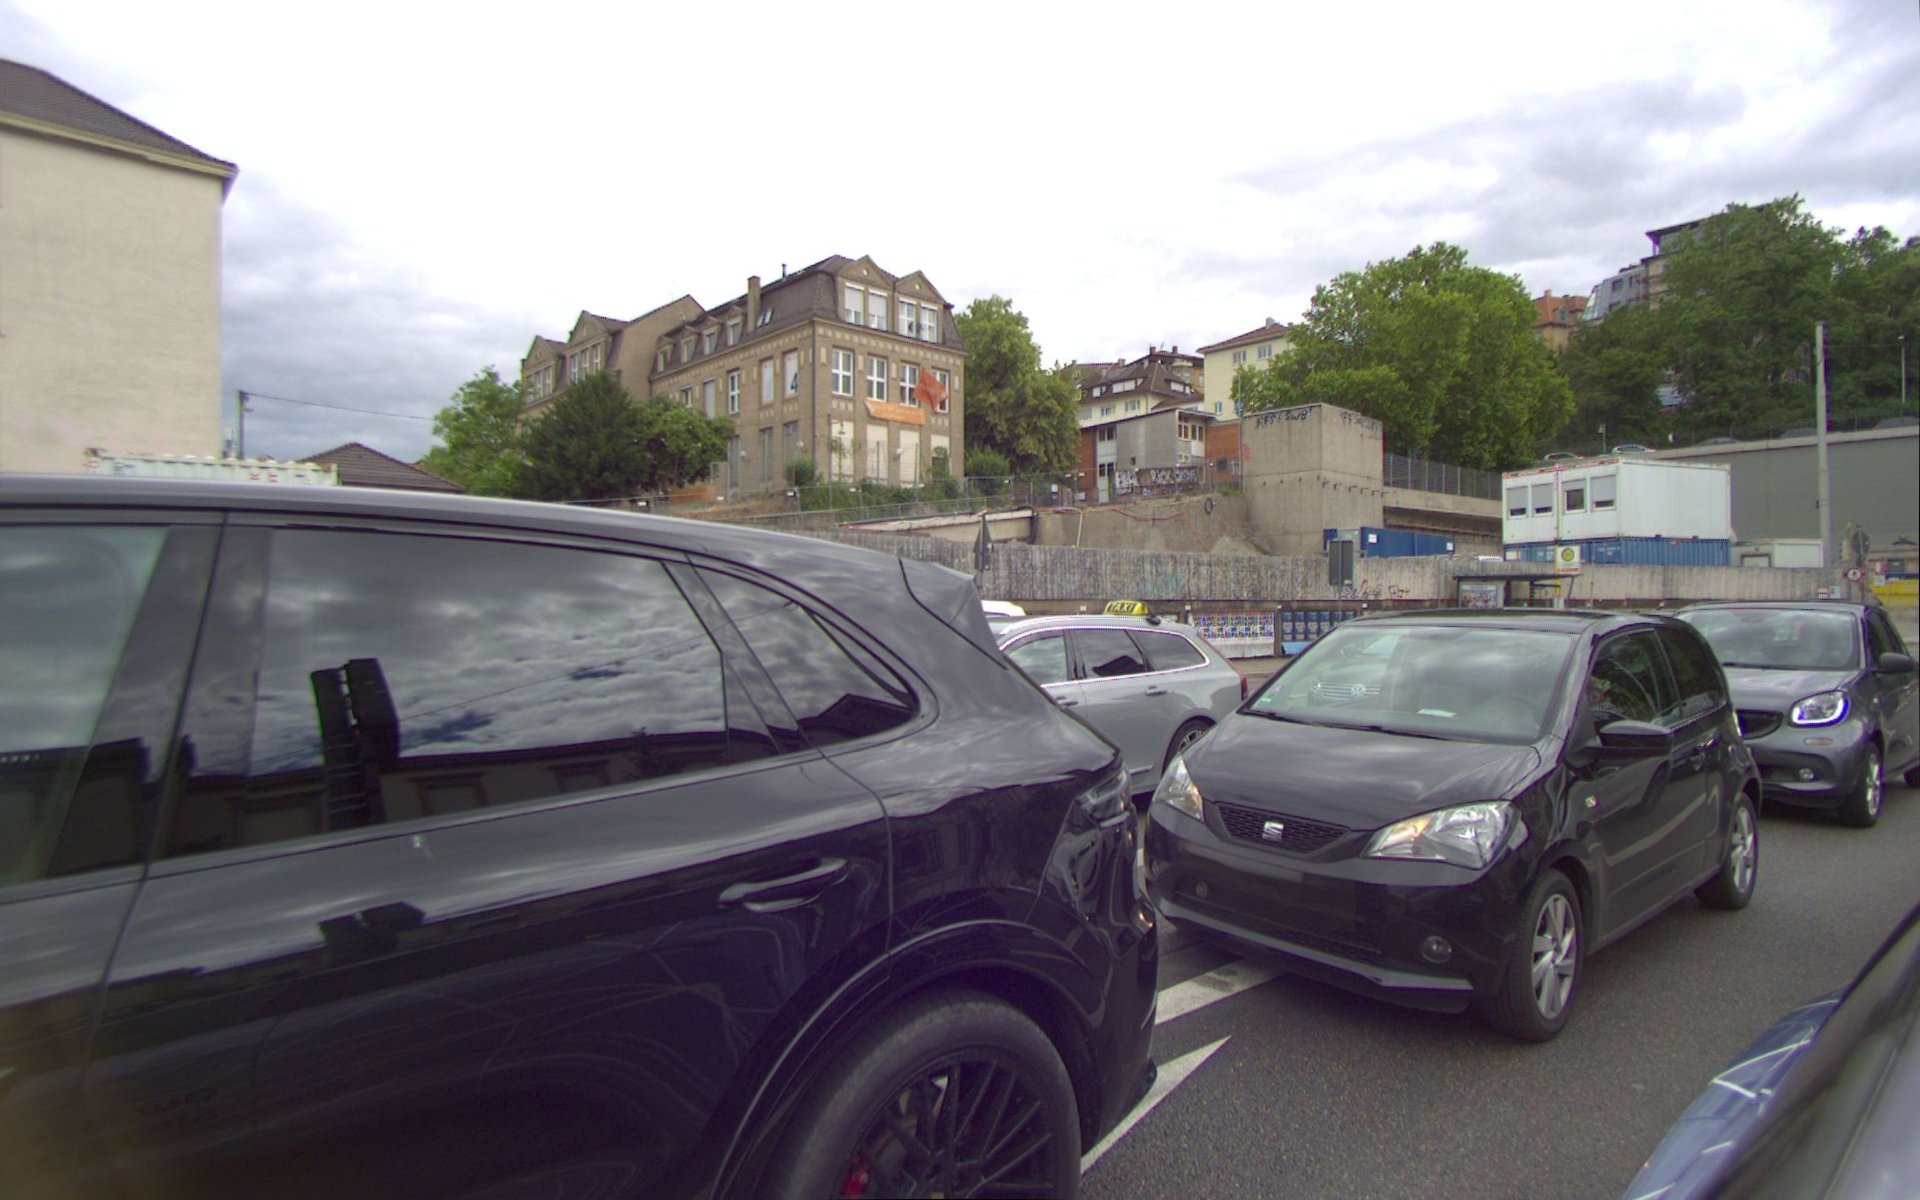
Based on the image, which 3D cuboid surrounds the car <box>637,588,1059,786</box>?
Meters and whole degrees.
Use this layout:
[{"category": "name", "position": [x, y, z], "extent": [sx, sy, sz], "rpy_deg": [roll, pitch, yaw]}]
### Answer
[{"category": "car", "position": [-1.007, 0.707, 10.473], "extent": [4.136, 1.645, 1.679], "rpy_deg": [-1, 0, -41]}]

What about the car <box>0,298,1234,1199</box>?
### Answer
[{"category": "car", "position": [-1.622, 0.572, 1.595], "extent": [4.406, 1.737, 1.827], "rpy_deg": [-1, 0, -41]}]

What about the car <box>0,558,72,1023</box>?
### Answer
[{"category": "car", "position": [-5.304, 0.688, 3.034], "extent": [3.930, 1.645, 1.679], "rpy_deg": [-1, 0, -41]}]

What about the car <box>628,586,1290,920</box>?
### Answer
[{"category": "car", "position": [0.270, 0.731, 7.256], "extent": [4.725, 1.645, 1.827], "rpy_deg": [-1, 0, -41]}]

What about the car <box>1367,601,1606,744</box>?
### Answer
[{"category": "car", "position": [6.280, 0.750, 12.018], "extent": [2.667, 1.449, 1.664], "rpy_deg": [-1, 0, -41]}]

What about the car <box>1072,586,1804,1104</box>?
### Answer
[{"category": "car", "position": [2.437, 0.678, 4.786], "extent": [3.636, 1.476, 1.827], "rpy_deg": [-1, 0, -41]}]

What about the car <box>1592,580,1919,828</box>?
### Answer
[{"category": "car", "position": [6.709, 0.661, 8.179], "extent": [3.511, 1.563, 1.720], "rpy_deg": [0, 0, -40]}]

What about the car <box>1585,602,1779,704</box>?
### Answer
[{"category": "car", "position": [11.508, 0.747, 16.049], "extent": [3.740, 1.383, 1.679], "rpy_deg": [-1, 0, -41]}]
